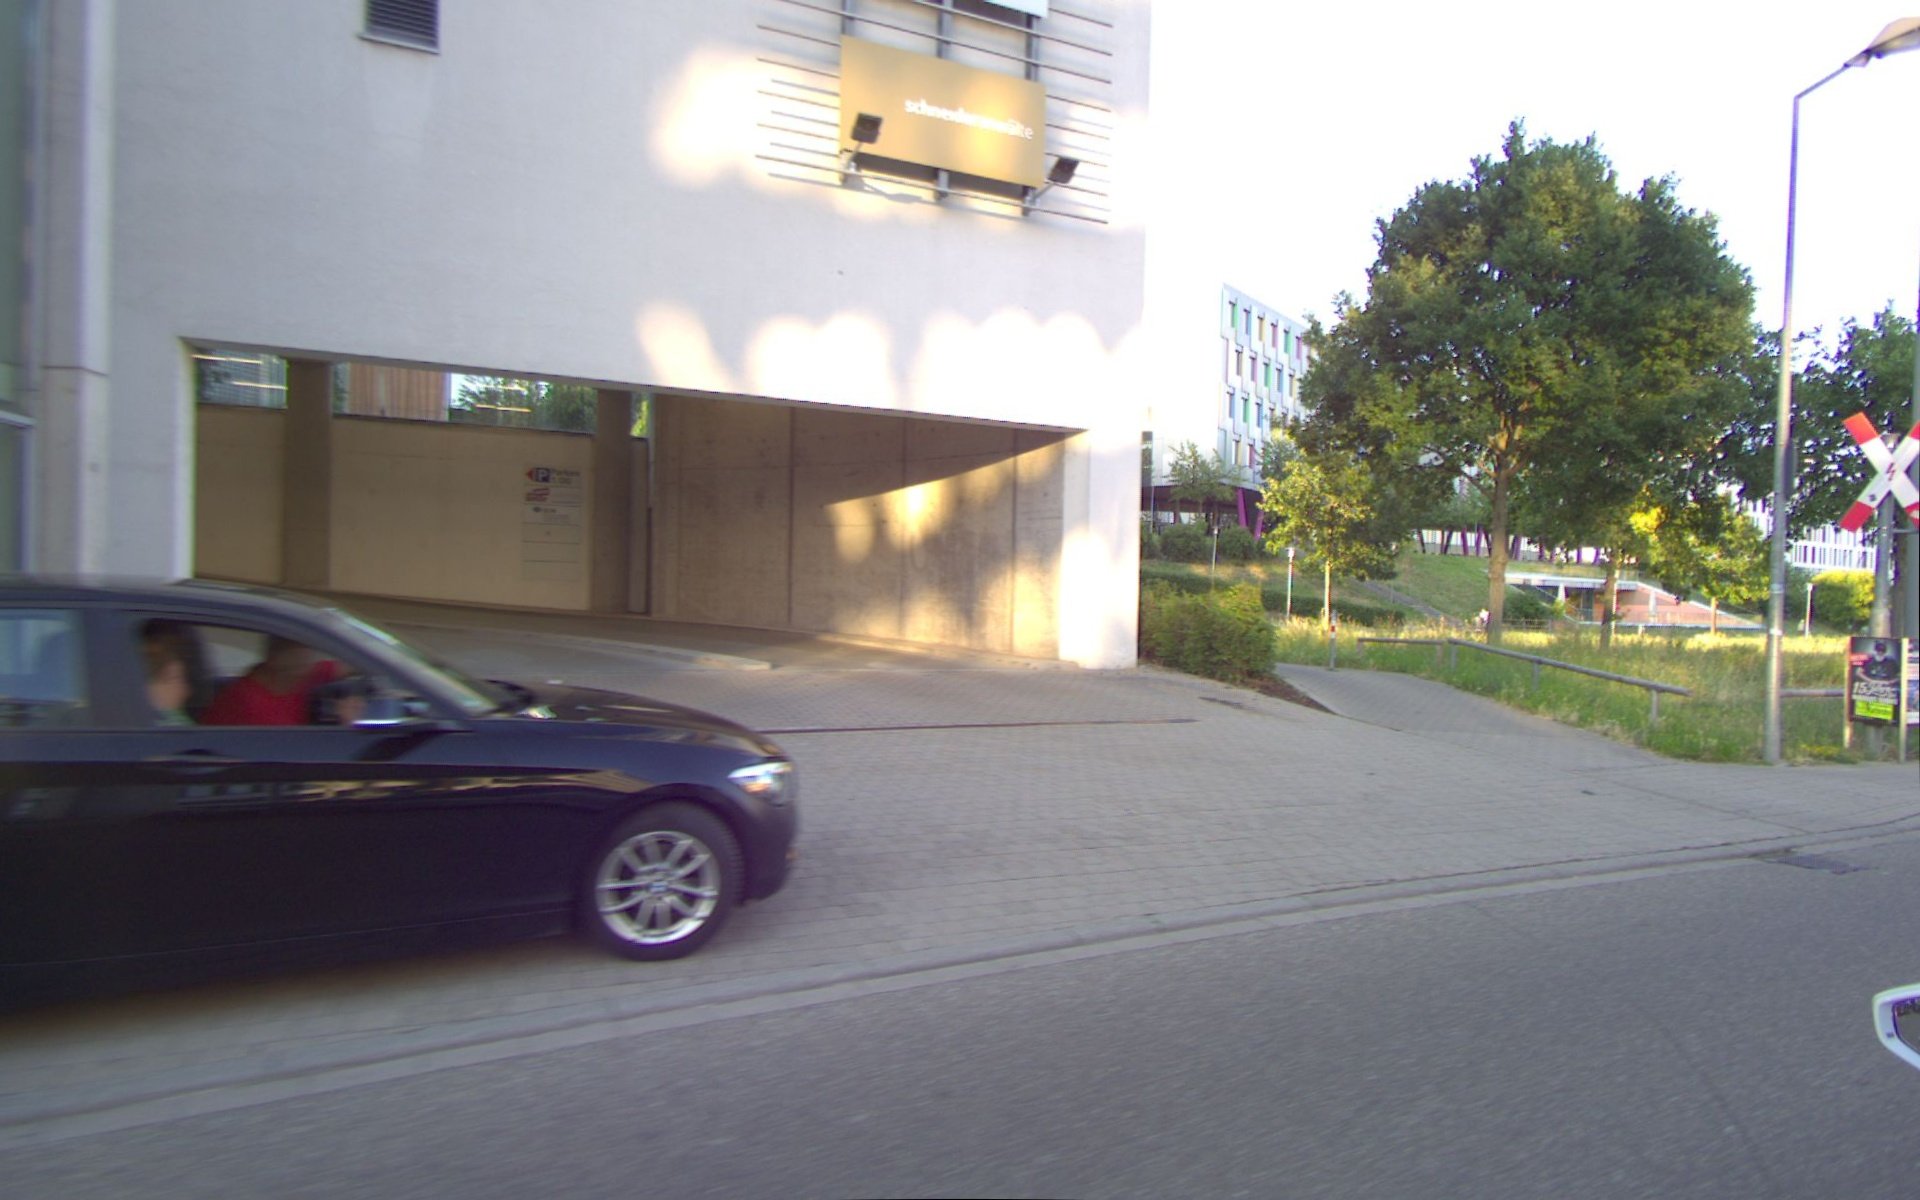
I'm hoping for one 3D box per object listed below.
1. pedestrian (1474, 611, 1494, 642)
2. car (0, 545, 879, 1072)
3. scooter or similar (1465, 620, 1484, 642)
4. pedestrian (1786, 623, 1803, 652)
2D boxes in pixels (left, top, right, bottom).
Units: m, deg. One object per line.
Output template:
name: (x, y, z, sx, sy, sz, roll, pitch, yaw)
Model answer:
pedestrian: (32.359, 1.619, 62.038, 0.779, 1.861, 0.614, 1, 2, -23)
car: (-2.610, 0.567, 3.920, 4.180, 1.461, 1.843, 1, 2, -31)
scooter or similar: (31.545, 1.897, 61.617, 0.779, 1.260, 0.614, 2, 2, -23)
pedestrian: (63.226, 2.854, 76.098, 0.779, 2.110, 0.614, 1, 2, -23)
